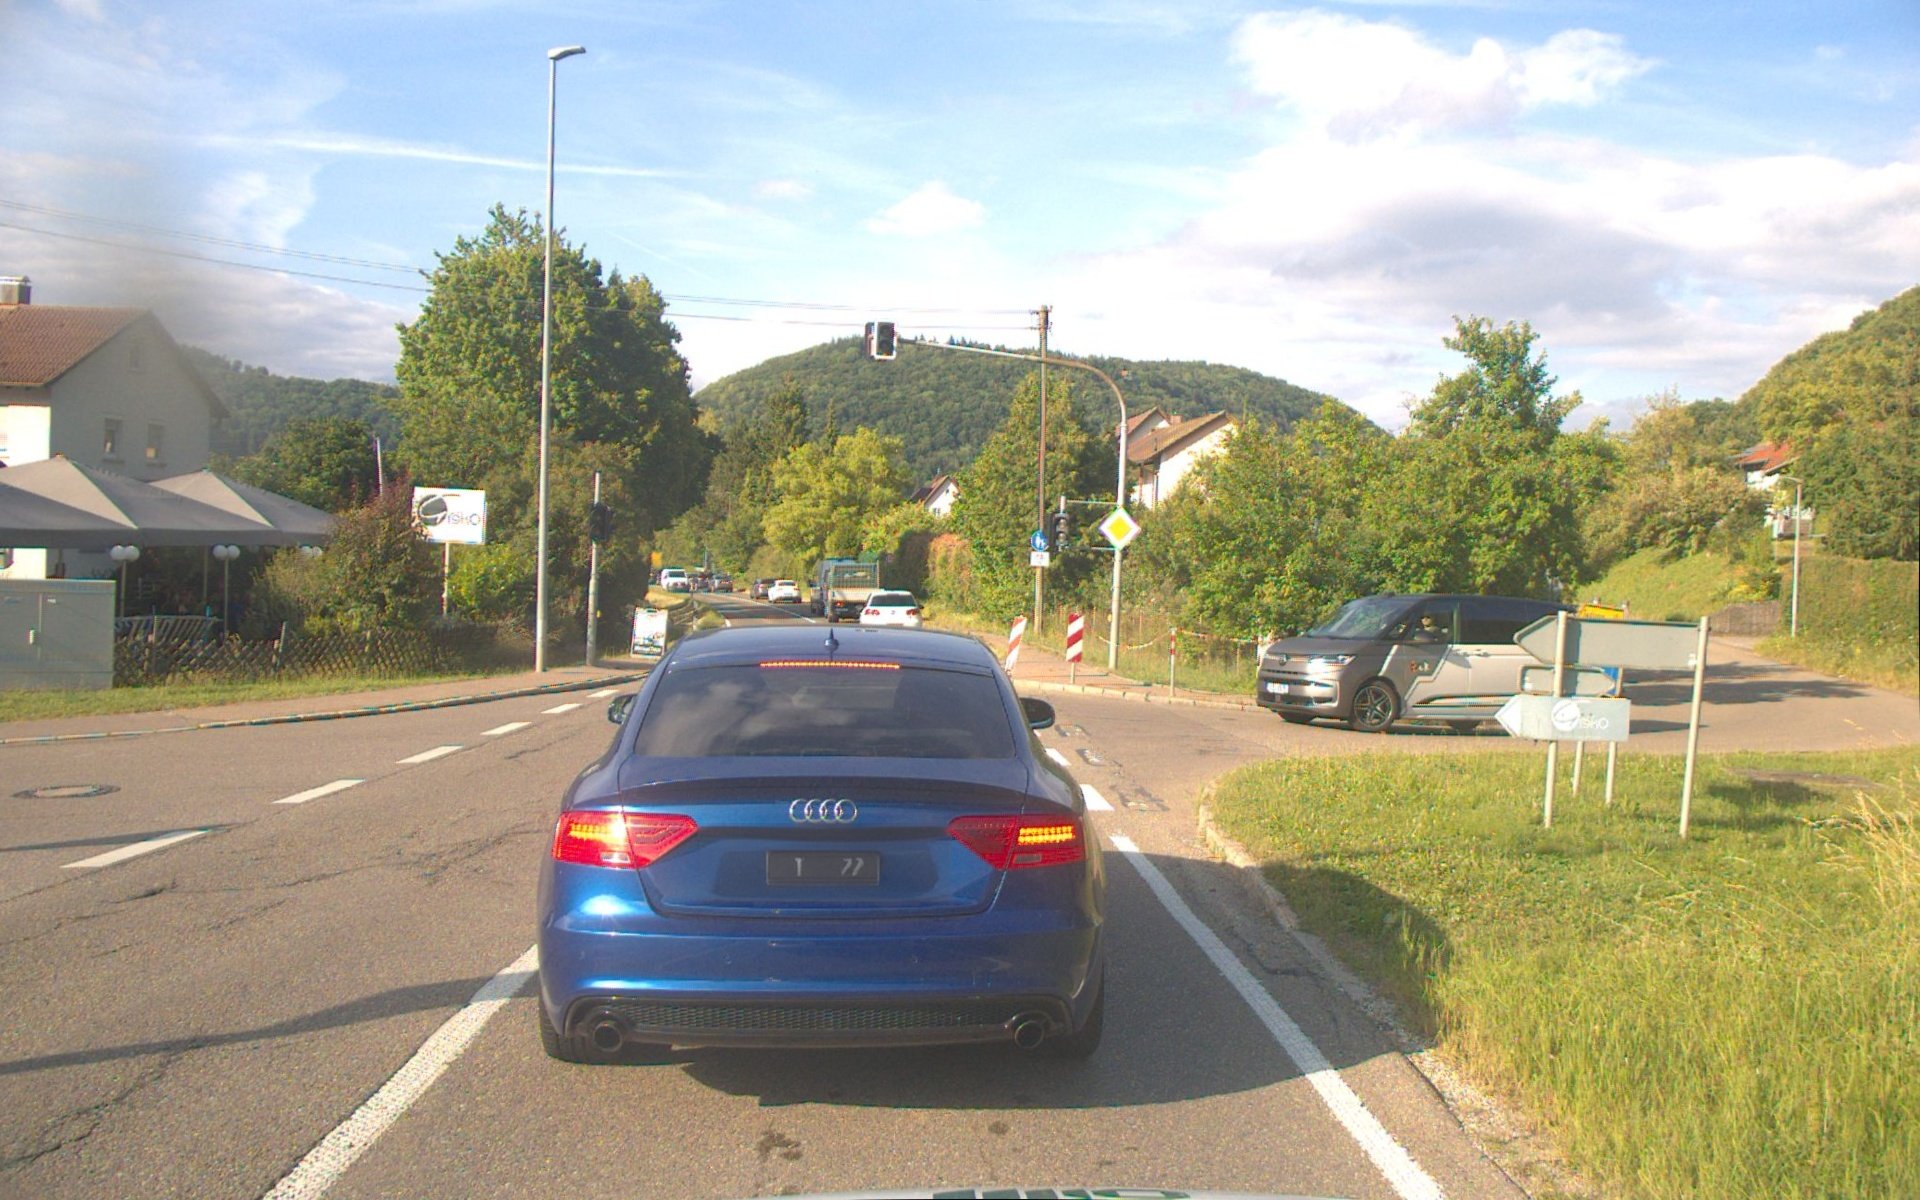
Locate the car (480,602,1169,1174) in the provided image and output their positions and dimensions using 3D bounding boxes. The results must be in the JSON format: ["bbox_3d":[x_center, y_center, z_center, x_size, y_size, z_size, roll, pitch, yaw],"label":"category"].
[{"bbox_3d":[-0.432,0.750,6.450,1.793,1.433,4.224,0,0,-2],"label":"car"}]

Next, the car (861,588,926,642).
[{"bbox_3d":[-1.912,0.404,47.679,1.736,1.439,4.172,2,0,-2],"label":"car"}]

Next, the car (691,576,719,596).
[{"bbox_3d":[-22.739,-1.274,147.536,2.007,1.713,3.983,0,1,-16],"label":"car"}]

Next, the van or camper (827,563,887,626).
[{"bbox_3d":[-4.196,-0.252,66.569,2.138,2.426,5.362,0,1,-7],"label":"van or camper"}]

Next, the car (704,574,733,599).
[{"bbox_3d":[-20.307,-1.116,138.835,1.960,2.049,3.985,0,1,-15],"label":"car"}]

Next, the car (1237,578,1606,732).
[{"bbox_3d":[6.437,0.775,23.006,4.794,1.909,1.984,2,1,-26],"label":"car"}]

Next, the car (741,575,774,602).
[{"bbox_3d":[-14.056,-0.793,114.698,1.766,1.825,3.985,0,1,-14],"label":"car"}]

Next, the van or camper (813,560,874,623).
[{"bbox_3d":[-5.706,-0.432,80.542,2.371,2.955,6.117,0,1,-10],"label":"van or camper"}]

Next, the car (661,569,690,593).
[{"bbox_3d":[-23.857,-1.573,138.485,1.961,1.937,5.232,-1,1,-15],"label":"car"}]

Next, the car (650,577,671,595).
[{"bbox_3d":[-31.538,-1.487,174.043,1.743,1.814,3.983,0,1,-16],"label":"car"}]

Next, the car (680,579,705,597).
[{"bbox_3d":[-25.269,-1.146,156.048,1.910,1.713,3.983,0,0,-16],"label":"car"}]

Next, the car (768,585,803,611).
[{"bbox_3d":[-10.958,-0.130,103.479,1.787,1.579,3.988,0,0,-12],"label":"car"}]
